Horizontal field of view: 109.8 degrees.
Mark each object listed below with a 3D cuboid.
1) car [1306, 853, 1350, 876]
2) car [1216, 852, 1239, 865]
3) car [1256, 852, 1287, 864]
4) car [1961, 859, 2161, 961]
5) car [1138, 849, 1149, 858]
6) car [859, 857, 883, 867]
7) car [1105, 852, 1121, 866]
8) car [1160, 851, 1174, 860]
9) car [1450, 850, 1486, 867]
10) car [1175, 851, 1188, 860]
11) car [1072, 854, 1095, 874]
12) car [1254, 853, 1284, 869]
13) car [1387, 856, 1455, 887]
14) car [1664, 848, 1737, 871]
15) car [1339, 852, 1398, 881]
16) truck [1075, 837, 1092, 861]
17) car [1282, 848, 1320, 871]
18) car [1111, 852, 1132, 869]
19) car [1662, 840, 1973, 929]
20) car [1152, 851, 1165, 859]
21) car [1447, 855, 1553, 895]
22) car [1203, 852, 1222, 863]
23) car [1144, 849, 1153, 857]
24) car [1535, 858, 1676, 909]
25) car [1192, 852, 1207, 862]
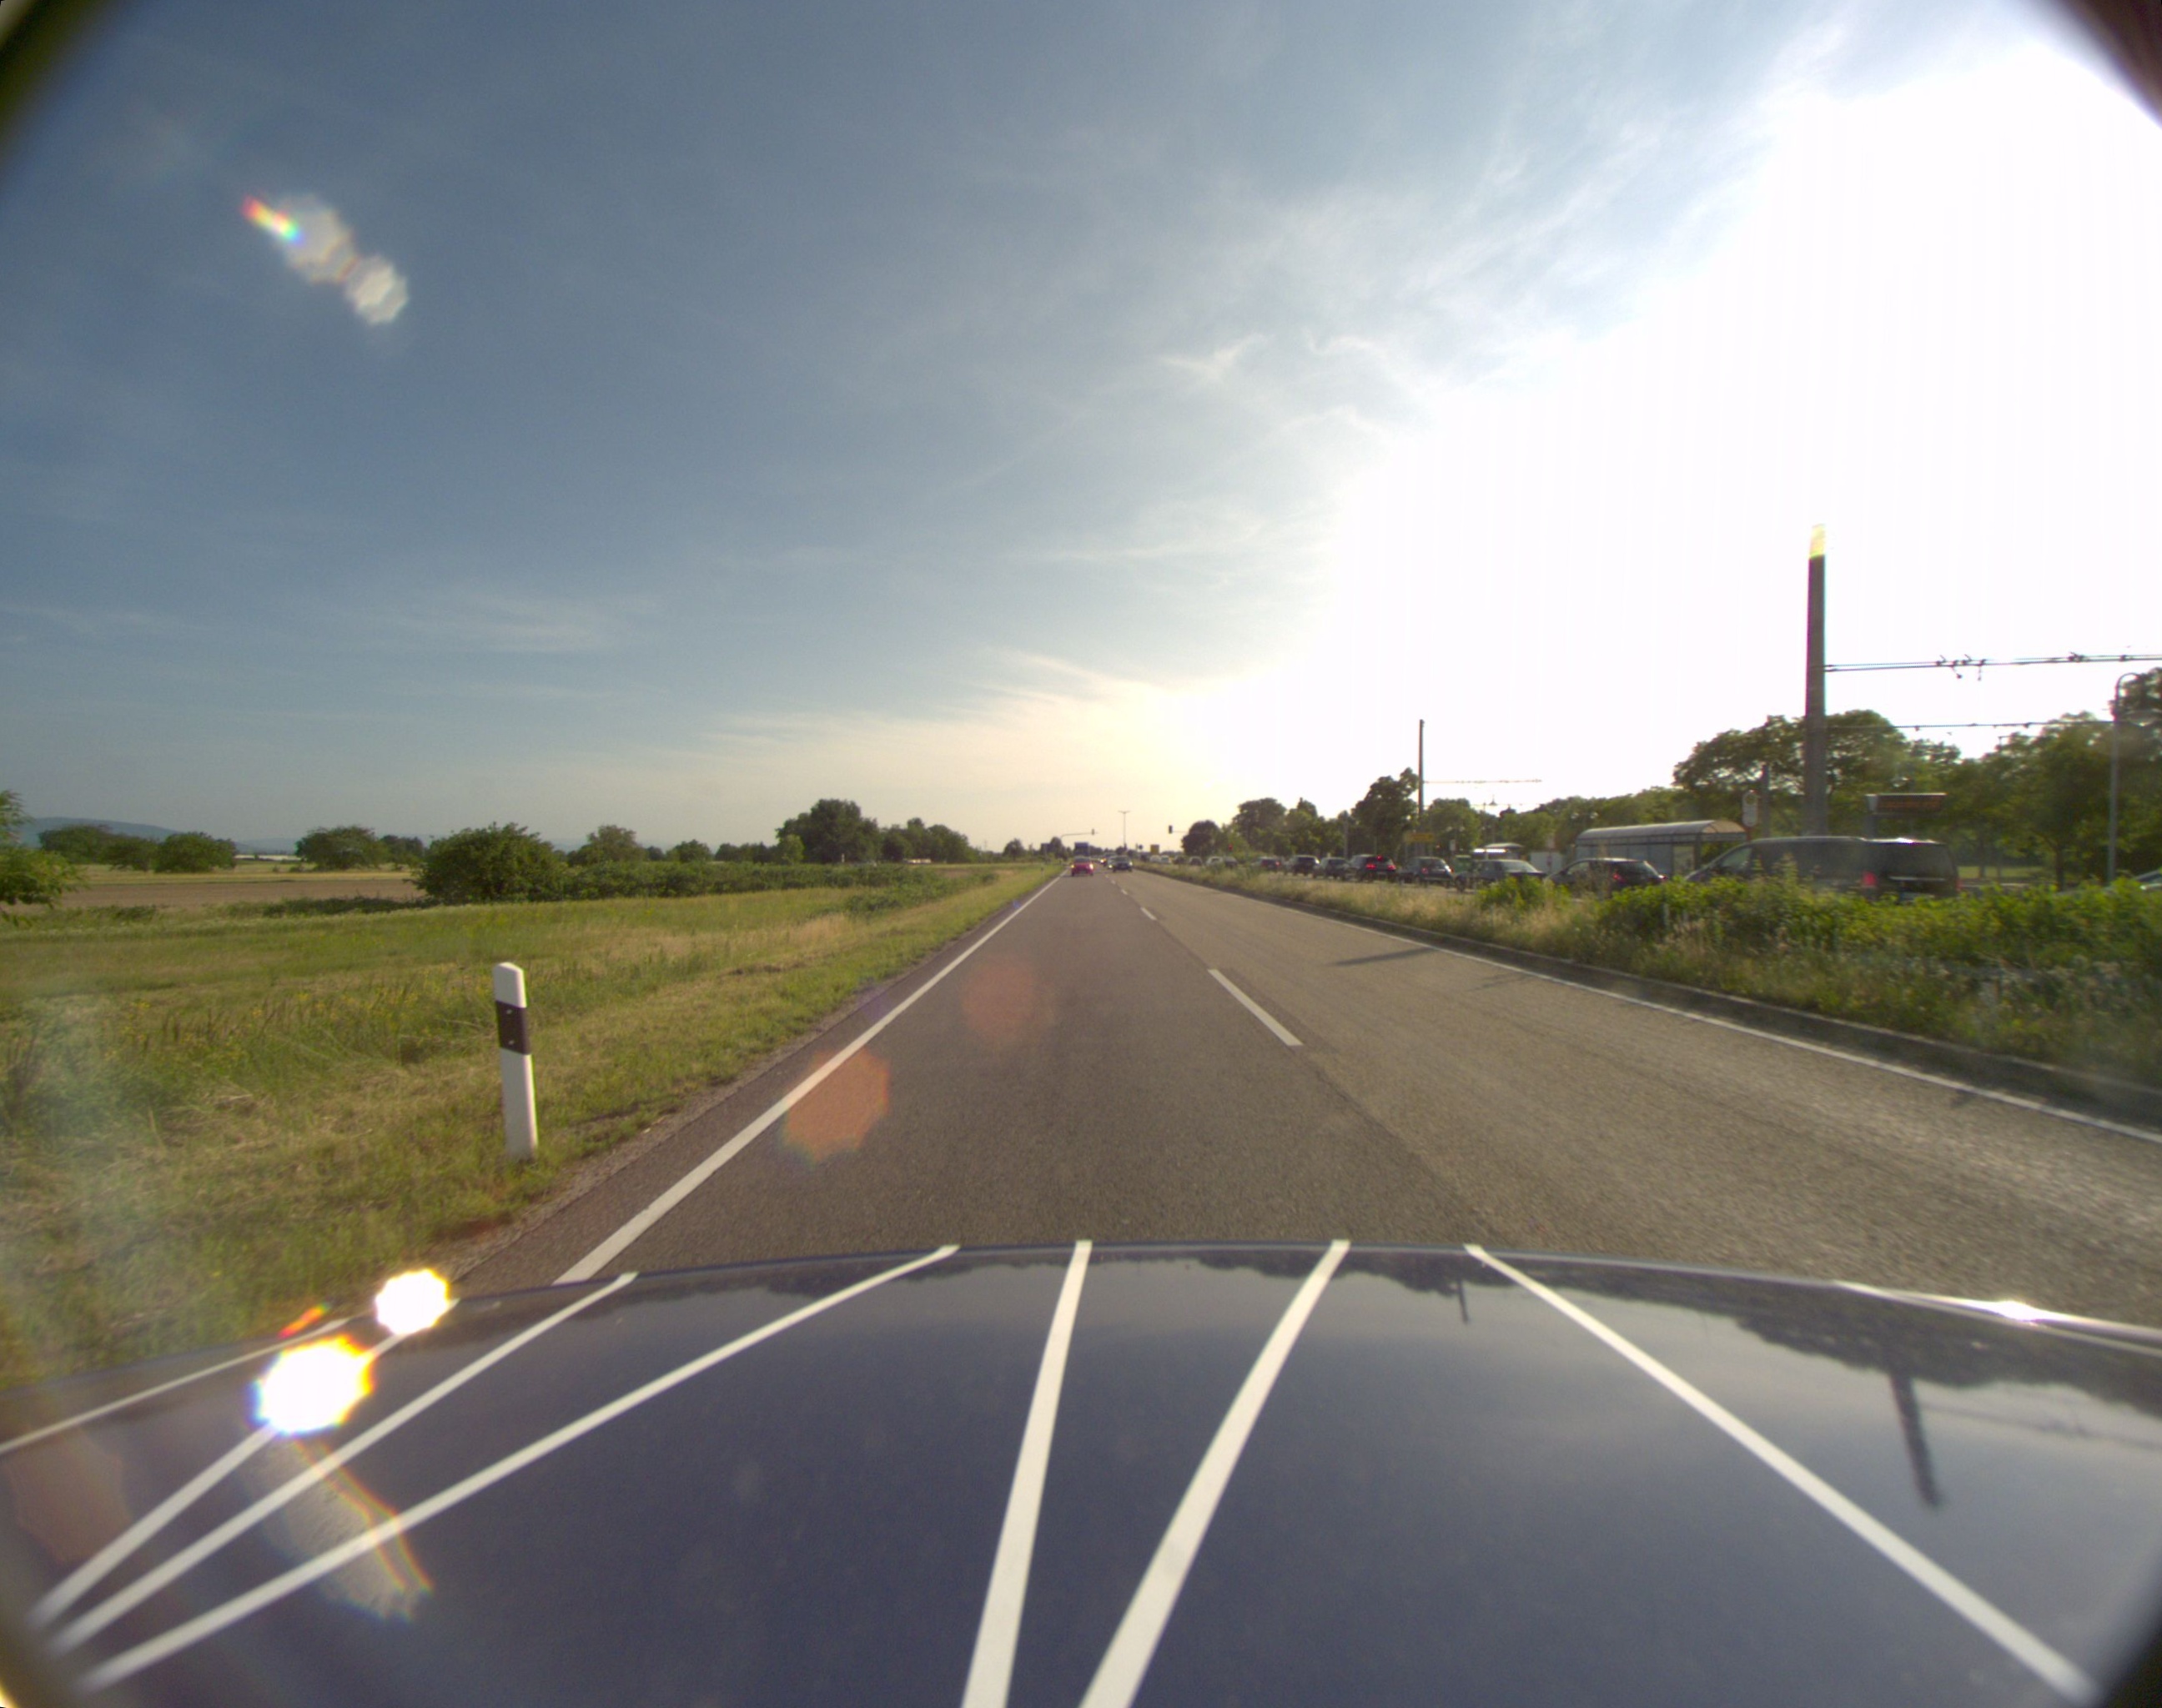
[{"bbox_3d":[16.545,0.695,51.060,1.664,1.423,3.805,1,0,0],"label":"car"},{"bbox_3d":[16.548,0.448,86.240,1.664,1.407,4.975,1,0,0],"label":"car"},{"bbox_3d":[34.247,0.755,136.825,4.844,1.876,2.253,-2,0,-5],"label":"car"},{"bbox_3d":[16.137,0.818,10.971,1.664,1.423,4.448,1,0,0],"label":"car"},{"bbox_3d":[13.608,-0.101,165.772,1.862,1.735,4.529,1,0,1],"label":"car"},{"bbox_3d":[-37.574,1.413,135.888,4.002,1.641,1.997,-2,0,-15],"label":"car"},{"bbox_3d":[3.599,0.519,86.096,1.636,1.442,4.000,-2,0,1],"label":"car"},{"bbox_3d":[14.242,0.283,125.360,1.823,1.461,4.294,1,0,1],"label":"car"},{"bbox_3d":[47.703,0.552,93.656,3.678,1.866,1.831,-2,1,-18],"label":"car"},{"bbox_3d":[17.796,0.196,134.220,1.801,1.580,4.000,1,0,0],"label":"car"},{"bbox_3d":[0.234,0.745,60.125,1.735,1.467,4.000,-2,0,1],"label":"car"},{"bbox_3d":[17.060,0.605,69.129,1.664,1.373,4.541,1,0,0],"label":"car"},{"bbox_3d":[16.775,0.825,37.654,1.664,1.423,3.805,1,0,0],"label":"car"},{"bbox_3d":[48.603,0.422,59.686,3.994,1.652,2.001,-2,0,9],"label":"car"},{"bbox_3d":[16.371,0.669,43.535,1.664,1.553,4.545,1,0,0],"label":"car"},{"bbox_3d":[0.510,-0.856,134.209,2.850,3.896,10.103,-2,0,1],"label":"truck"},{"bbox_3d":[16.955,0.431,58.685,1.664,1.677,4.228,1,0,0],"label":"car"},{"bbox_3d":[3.661,0.564,69.242,1.636,1.500,4.000,-2,0,1],"label":"car"},{"bbox_3d":[16.160,0.582,17.234,1.920,1.673,5.253,1,0,0],"label":"car"},{"bbox_3d":[13.854,0.144,135.934,1.756,1.499,4.583,1,0,1],"label":"car"},{"bbox_3d":[16.872,0.802,30.883,1.664,1.423,4.717,1,0,0],"label":"car"},{"bbox_3d":[17.152,0.497,99.063,1.664,1.373,4.468,1,0,0],"label":"car"},{"bbox_3d":[17.280,-0.268,194.431,1.998,1.961,5.078,2,0,1],"label":"car"},{"bbox_3d":[16.524,0.861,24.196,1.664,1.423,4.056,1,0,0],"label":"car"},{"bbox_3d":[17.879,0.433,114.909,1.664,1.373,4.000,1,0,0],"label":"car"}]
